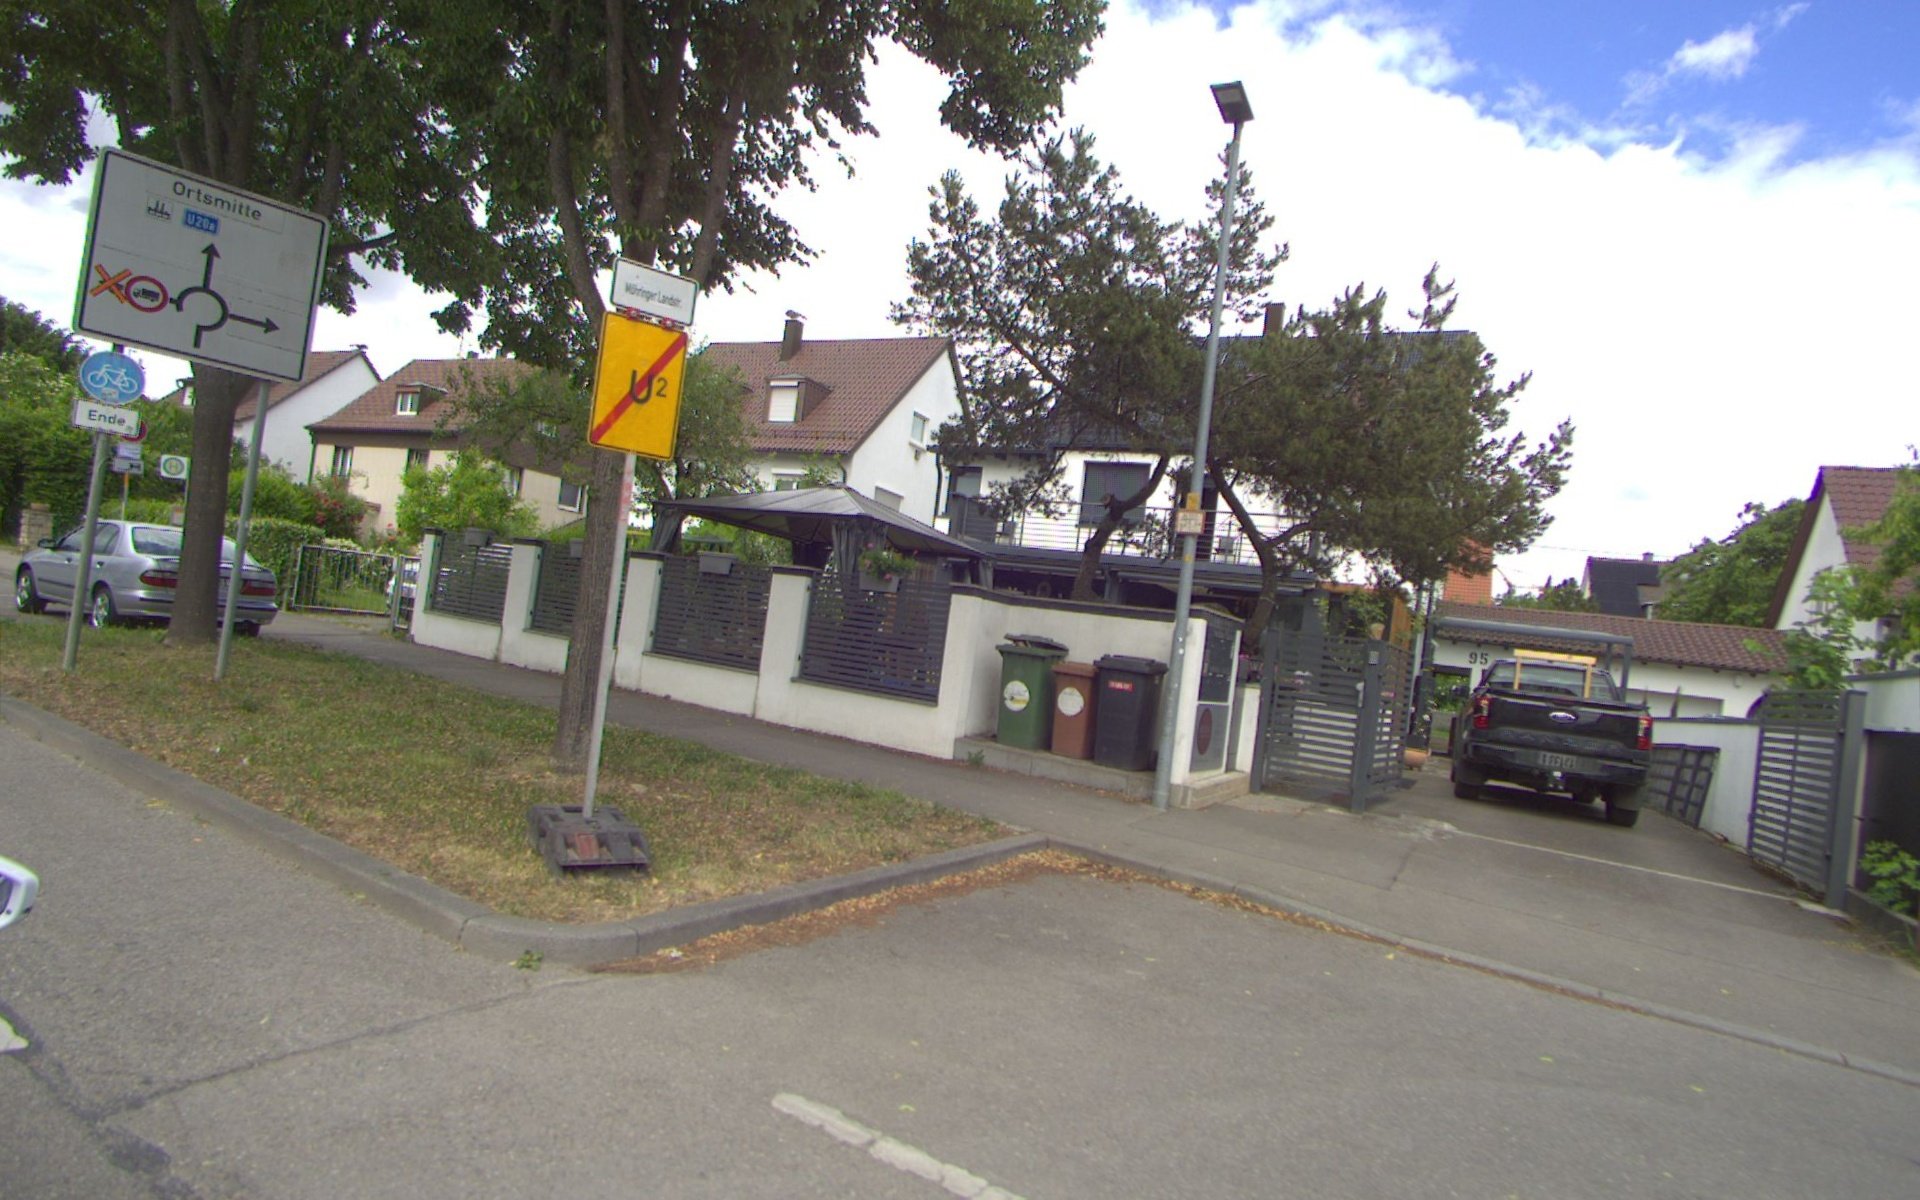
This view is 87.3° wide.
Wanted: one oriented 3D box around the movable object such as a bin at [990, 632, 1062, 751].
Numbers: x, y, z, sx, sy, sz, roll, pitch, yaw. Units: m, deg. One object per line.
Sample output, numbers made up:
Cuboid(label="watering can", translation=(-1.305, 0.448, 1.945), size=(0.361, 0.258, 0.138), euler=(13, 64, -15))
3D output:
Cuboid(label="movable object such as a bin", translation=(0.669, 0.920, 10.169), size=(0.447, 1.123, 0.437), euler=(7, 0, 33))

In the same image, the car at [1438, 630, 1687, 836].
Cuboid(label="car", translation=(7.582, 1.624, 13.234), size=(2.012, 1.925, 5.201), euler=(6, -2, 24))

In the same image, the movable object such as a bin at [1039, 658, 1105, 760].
Cuboid(label="movable object such as a bin", translation=(1.100, 1.064, 9.894), size=(0.389, 0.931, 0.437), euler=(7, 0, 33))

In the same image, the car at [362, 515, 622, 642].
Cuboid(label="car", translation=(-8.863, -0.329, 19.392), size=(1.966, 1.844, 3.997), euler=(7, -2, 29))

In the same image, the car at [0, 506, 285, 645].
Cuboid(label="car", translation=(-10.962, -0.360, 13.347), size=(4.315, 1.393, 1.614), euler=(5, -2, 32))

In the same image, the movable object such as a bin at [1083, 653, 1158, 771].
Cuboid(label="movable object such as a bin", translation=(1.521, 1.048, 9.497), size=(0.447, 1.034, 0.437), euler=(7, 0, 33))
